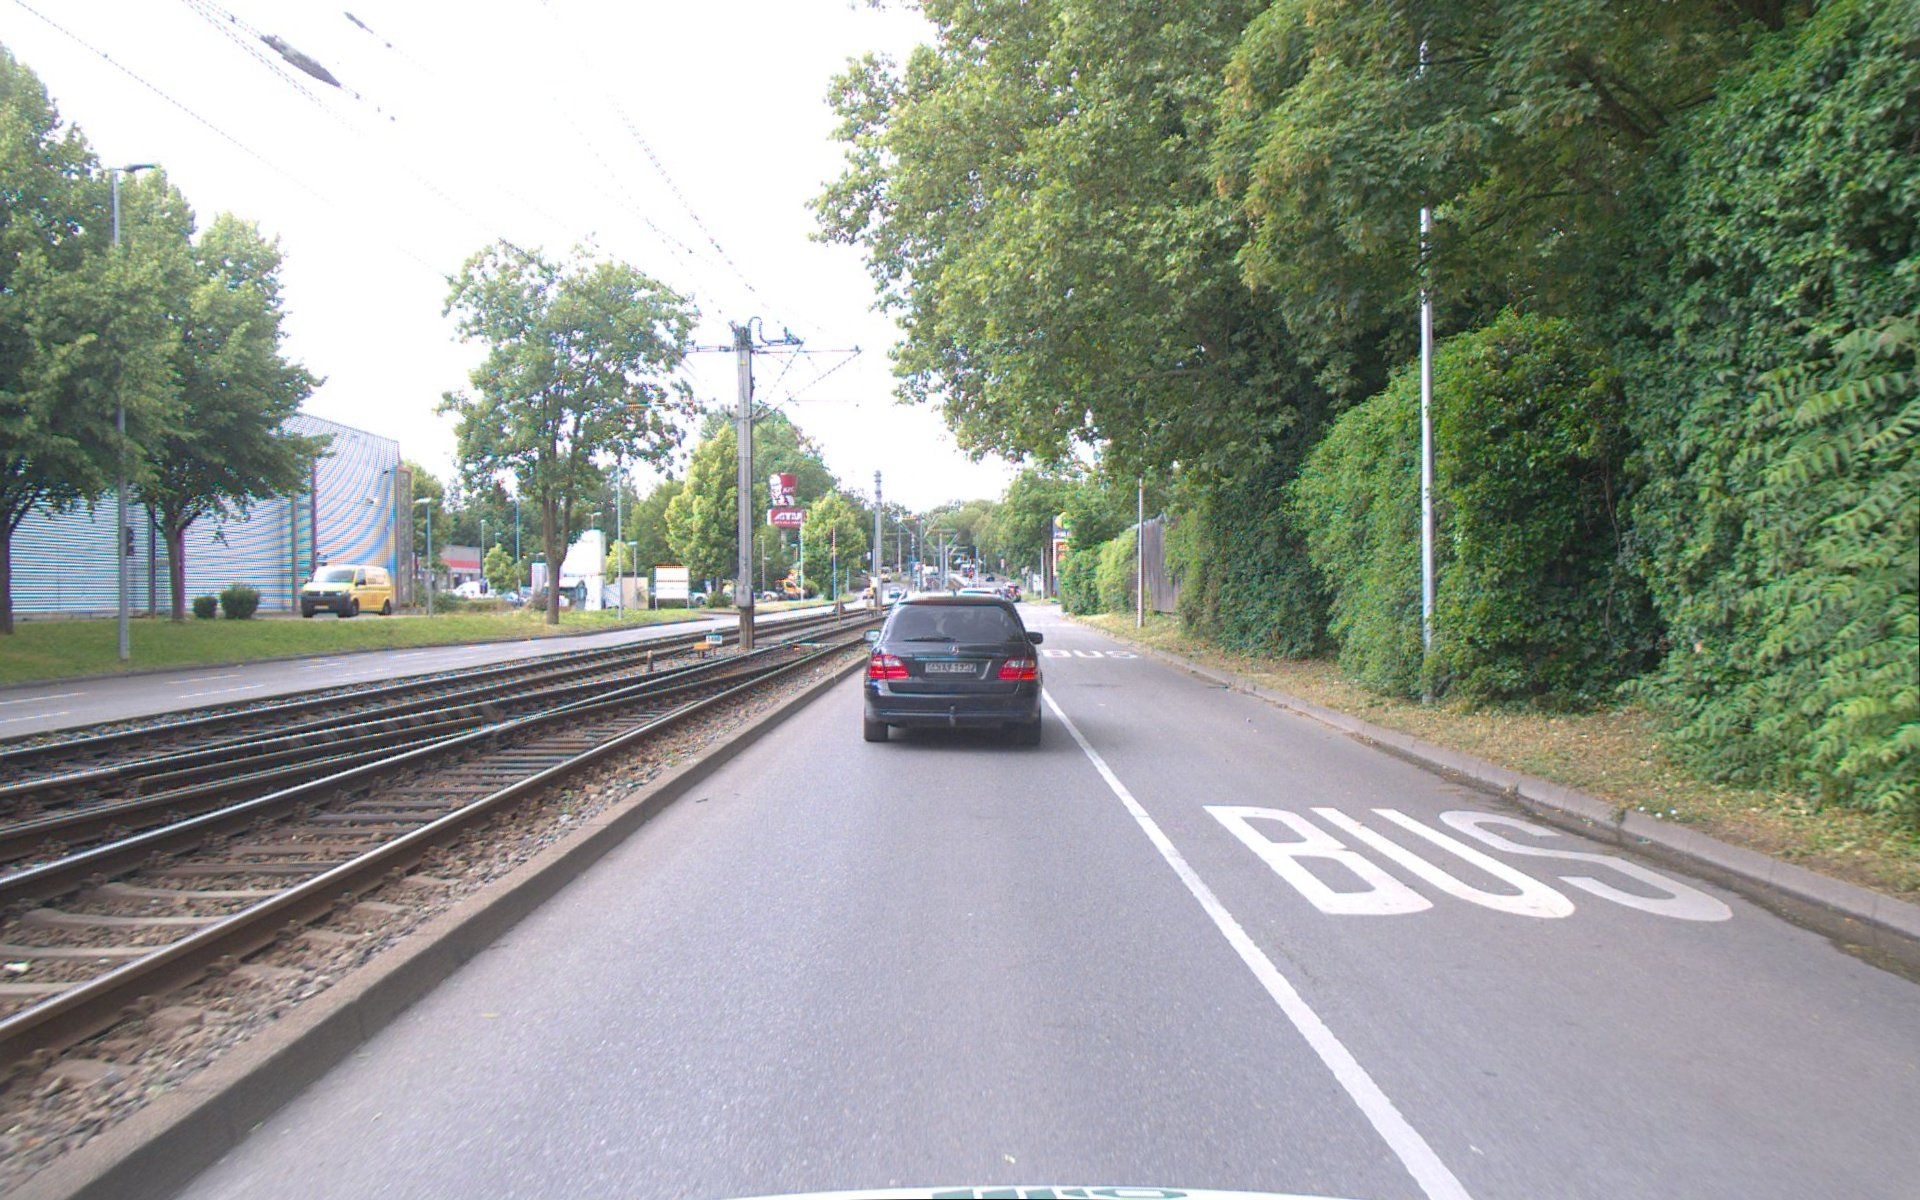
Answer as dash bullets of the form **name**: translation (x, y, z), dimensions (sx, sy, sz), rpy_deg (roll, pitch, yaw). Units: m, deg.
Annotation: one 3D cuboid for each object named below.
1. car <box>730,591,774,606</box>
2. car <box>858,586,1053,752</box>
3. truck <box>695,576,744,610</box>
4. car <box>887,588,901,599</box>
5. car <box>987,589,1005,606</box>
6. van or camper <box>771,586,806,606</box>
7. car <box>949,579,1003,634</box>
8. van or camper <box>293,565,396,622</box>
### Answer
- **car**: translation (-20.961, -0.123, 167.028), dimensions (4.219, 1.497, 1.680), rpy_deg (0, 0, -1)
- **car**: translation (0.000, 0.621, 17.134), dimensions (1.771, 1.500, 3.881), rpy_deg (1, 0, 1)
- **truck**: translation (-20.946, -0.584, 144.172), dimensions (3.906, 2.871, 2.375), rpy_deg (-1, 0, -2)
- **car**: translation (-9.240, -0.852, 231.838), dimensions (1.723, 1.425, 4.443), rpy_deg (-3, 0, 0)
- **car**: translation (3.158, -0.206, 146.521), dimensions (1.538, 1.439, 3.354), rpy_deg (1, 0, 1)
- **van or camper**: translation (-20.079, -0.468, 193.537), dimensions (3.908, 2.172, 1.877), rpy_deg (1, 0, -4)
- **car**: translation (0.569, 0.222, 56.430), dimensions (1.744, 1.781, 3.718), rpy_deg (1, 0, 1)
- **van or camper**: translation (-22.933, -0.251, 61.870), dimensions (2.061, 2.049, 5.240), rpy_deg (0, 0, -2)
